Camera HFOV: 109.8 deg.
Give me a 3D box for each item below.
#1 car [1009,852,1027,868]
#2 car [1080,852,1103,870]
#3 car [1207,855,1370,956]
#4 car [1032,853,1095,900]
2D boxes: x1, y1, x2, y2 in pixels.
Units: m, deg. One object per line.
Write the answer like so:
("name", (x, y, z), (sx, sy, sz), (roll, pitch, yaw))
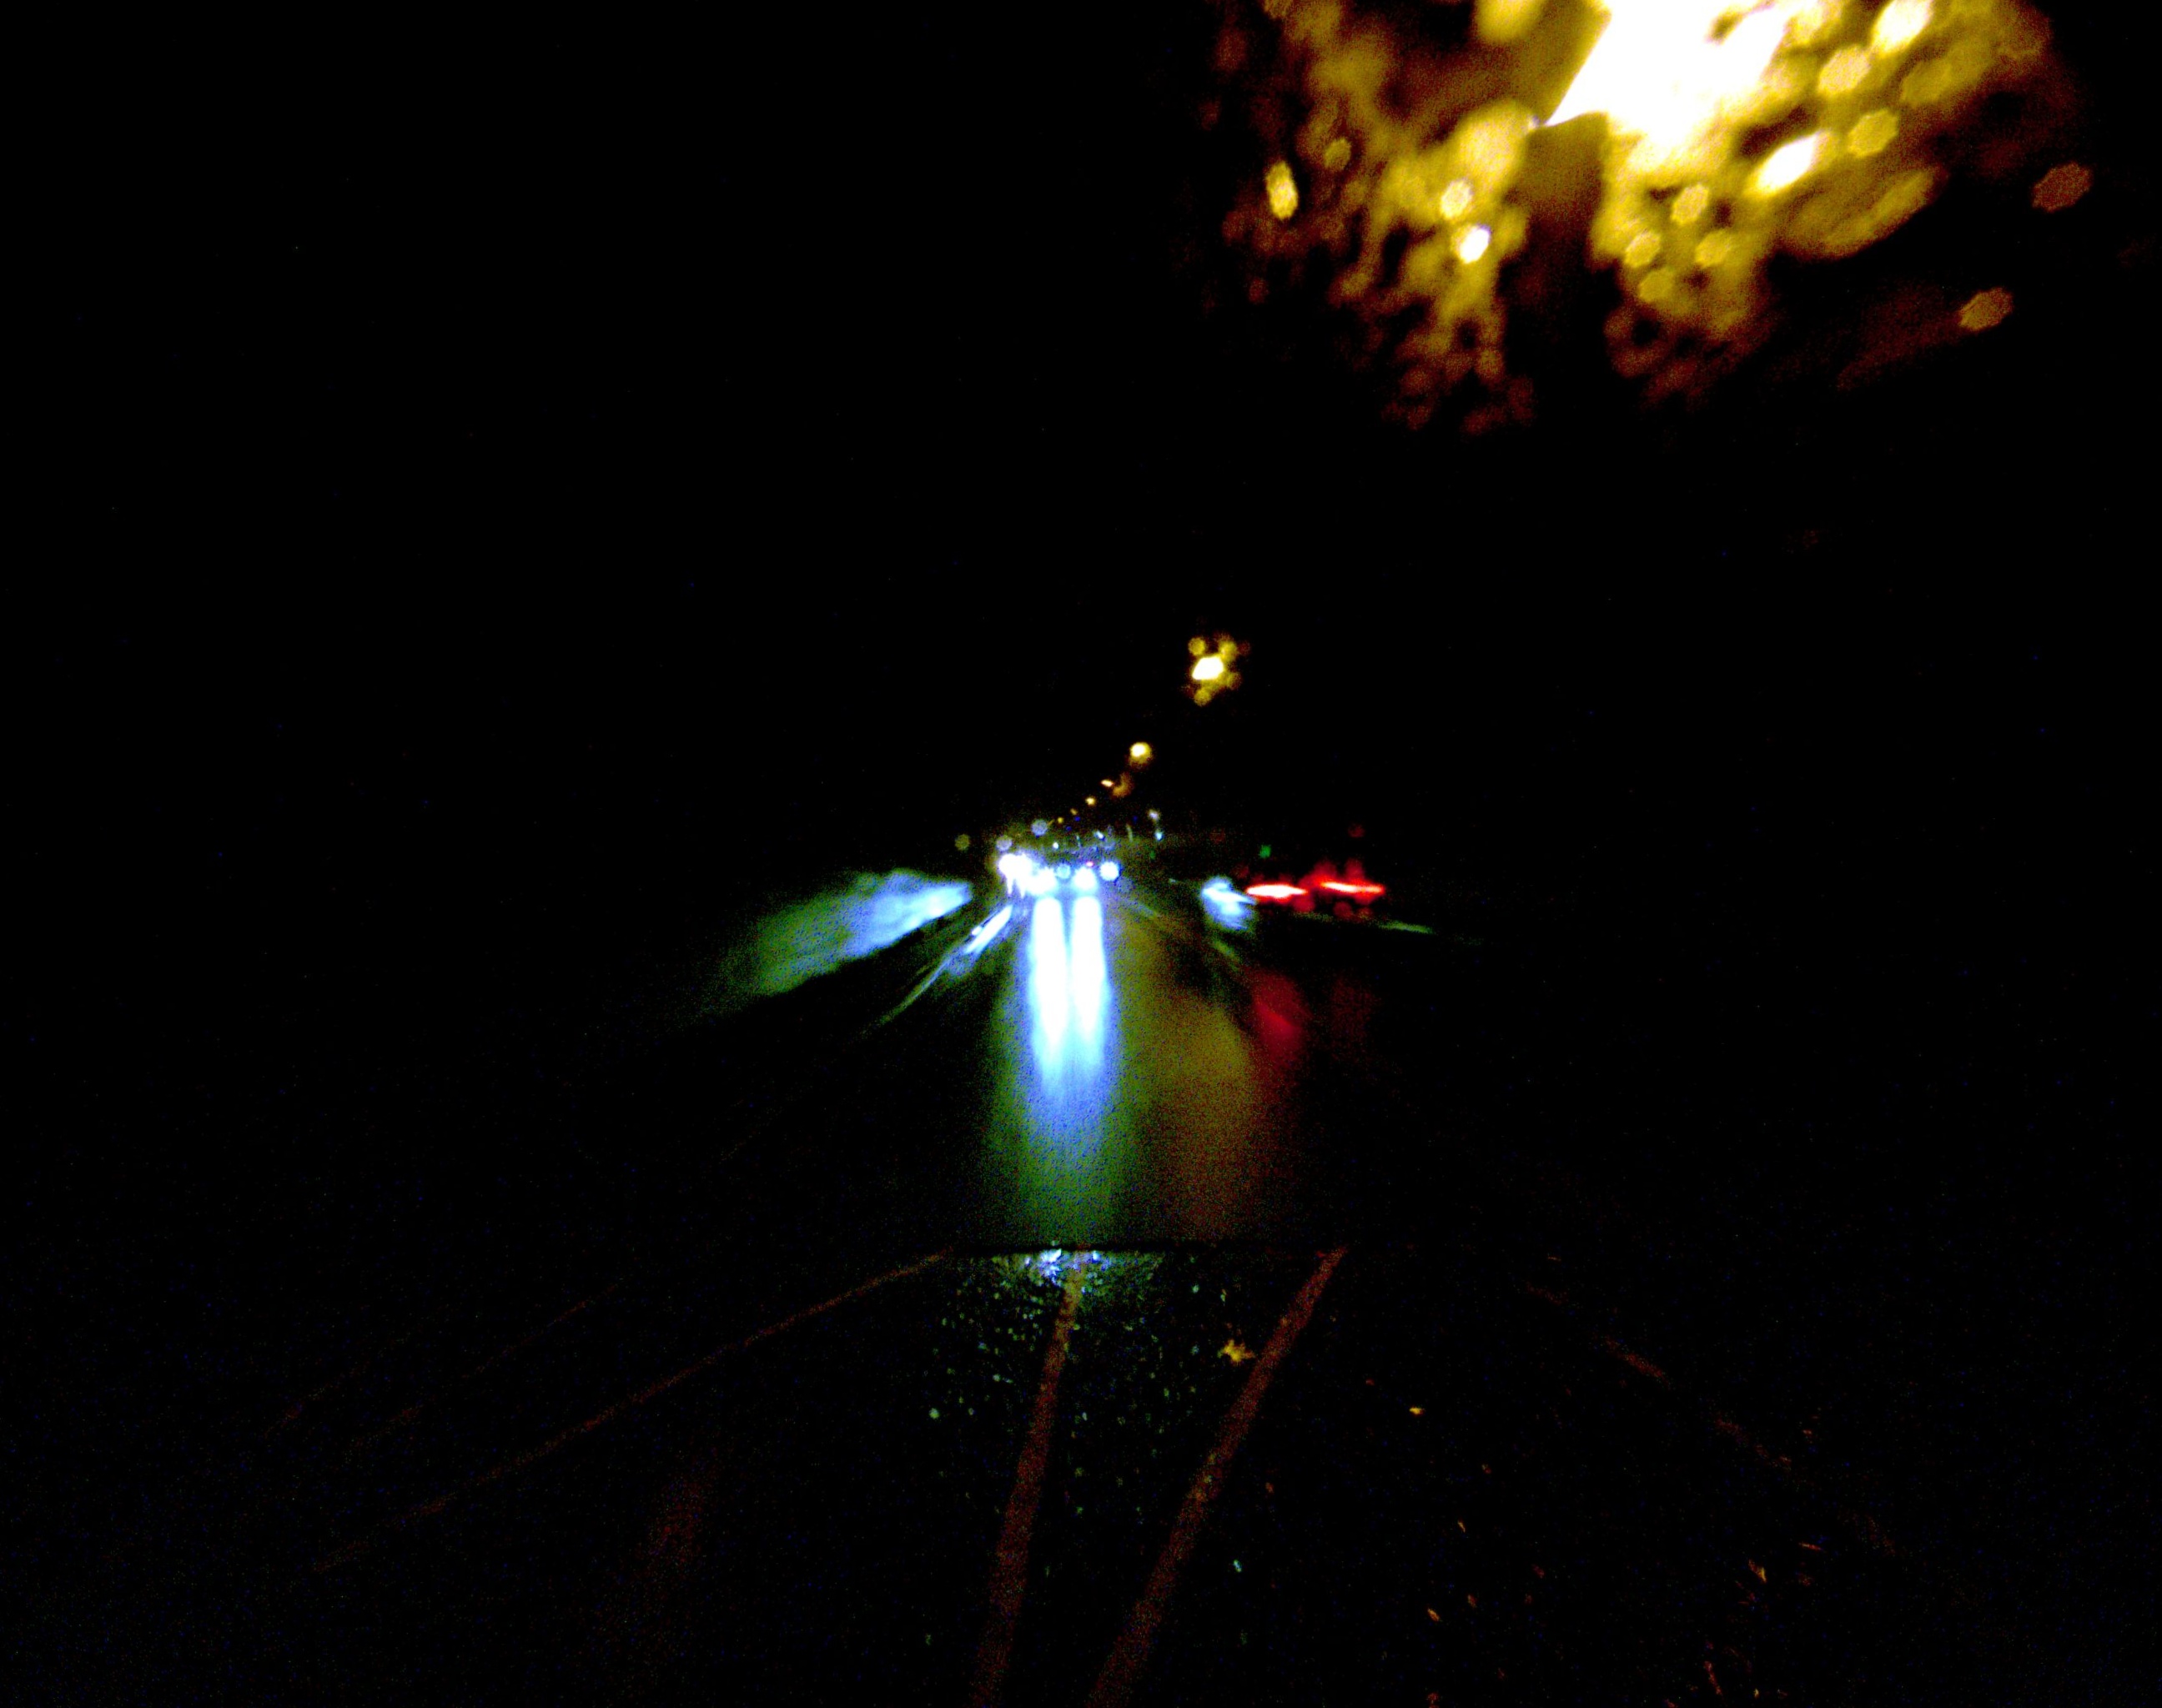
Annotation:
("car", (-8.174, 0.714, 98.245), (1.900, 2.002, 3.996), (-1, 1, -9))
("car", (0.868, 0.573, 64.284), (1.630, 1.438, 3.935), (-2, 0, -2))
("car", (3.339, 0.745, 13.015), (1.634, 1.389, 3.999), (-2, 0, 0))
("car", (-0.791, 0.816, 30.300), (2.000, 1.585, 4.605), (-3, 1, -7))
